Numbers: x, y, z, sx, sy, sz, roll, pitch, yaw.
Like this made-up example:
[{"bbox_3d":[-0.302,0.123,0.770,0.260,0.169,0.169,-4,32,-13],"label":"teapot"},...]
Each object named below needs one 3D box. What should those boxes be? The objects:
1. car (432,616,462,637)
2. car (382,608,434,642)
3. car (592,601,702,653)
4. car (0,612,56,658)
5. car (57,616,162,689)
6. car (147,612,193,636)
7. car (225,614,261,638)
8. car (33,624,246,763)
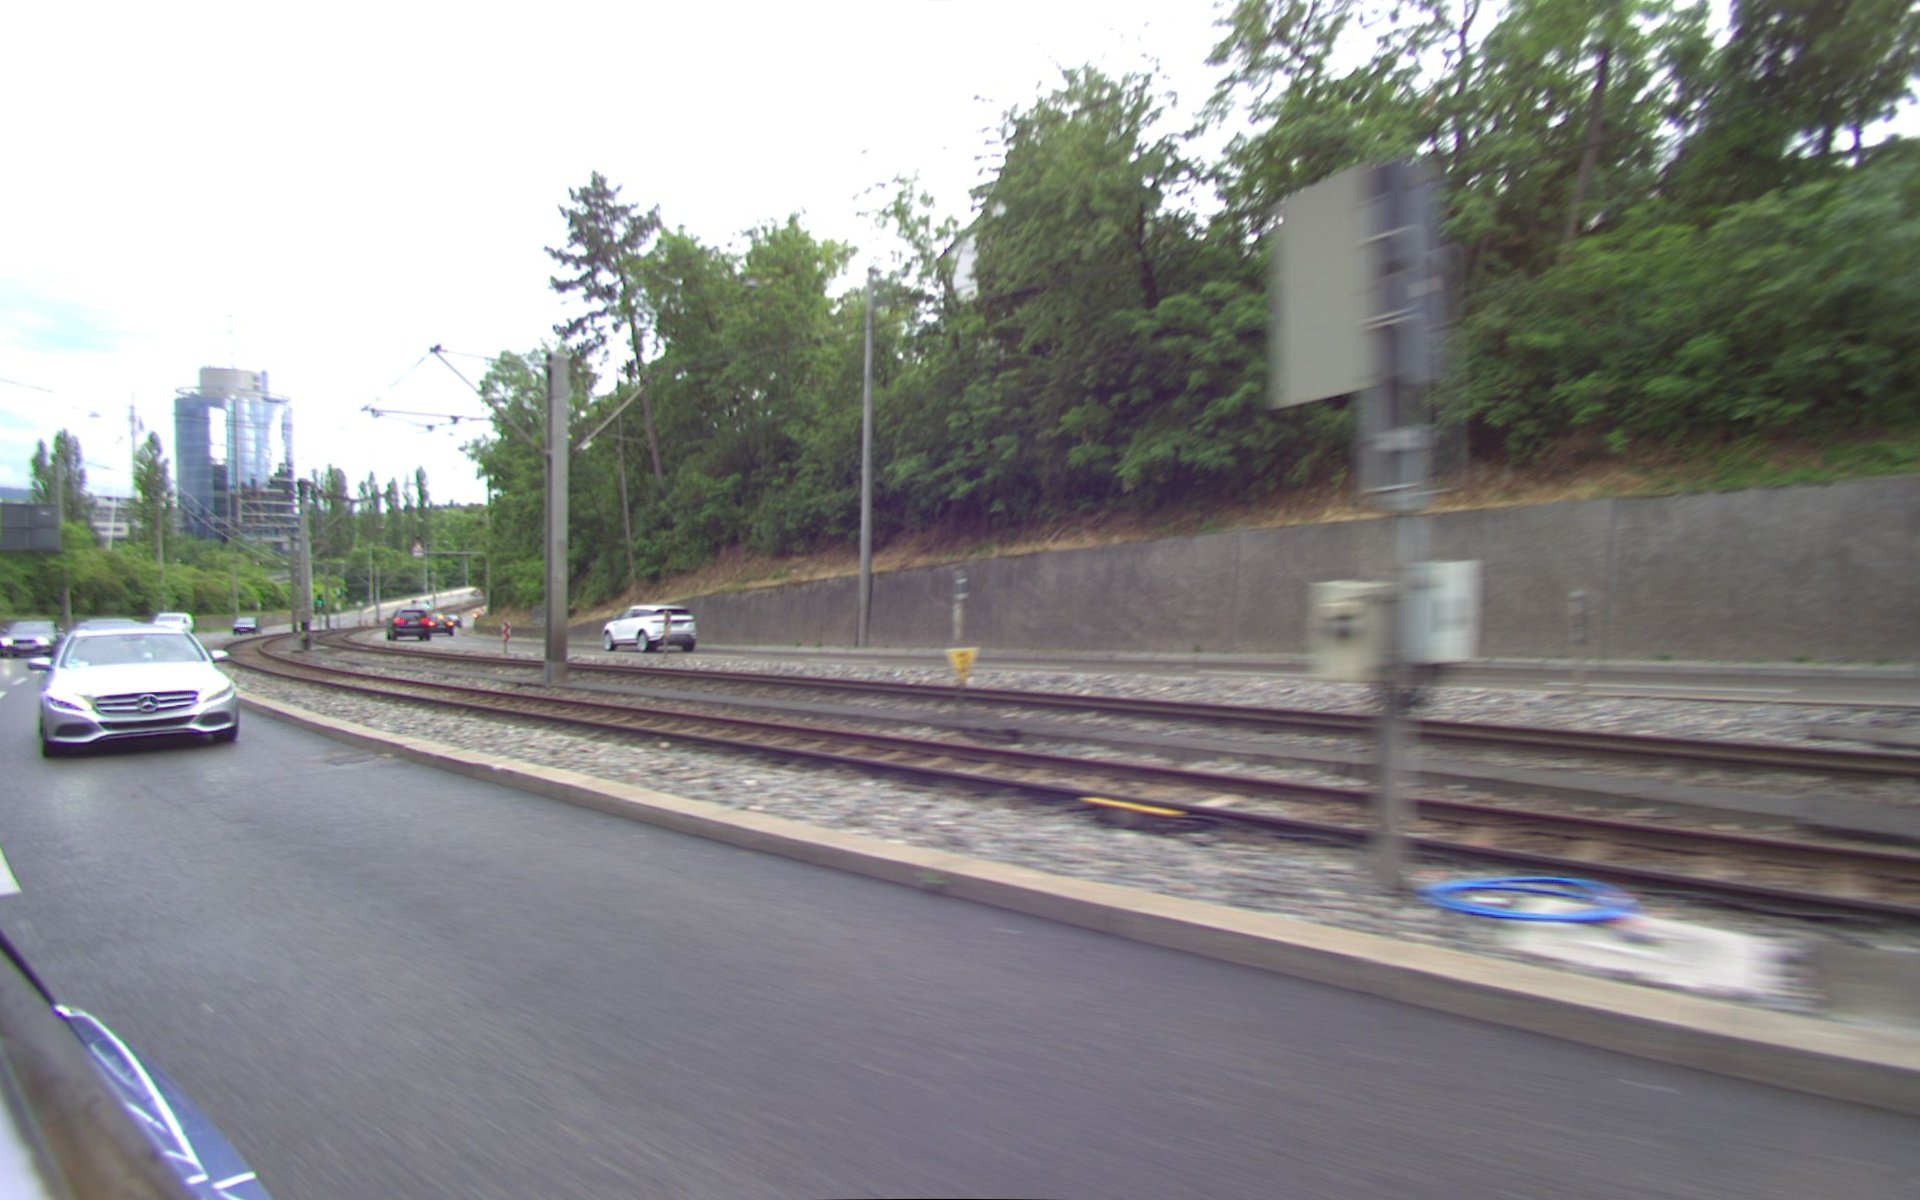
[{"bbox_3d":[-37.493,1.923,73.931,1.799,1.482,4.427,1,-2,-29],"label":"car"},{"bbox_3d":[-31.731,1.433,58.110,2.203,1.845,5.151,0,-1,-33],"label":"car"},{"bbox_3d":[-11.130,0.932,35.839,1.912,1.696,4.411,0,-1,-44],"label":"car"},{"bbox_3d":[-37.092,1.357,40.063,1.784,1.521,4.004,-4,4,-43],"label":"car"},{"bbox_3d":[-19.672,1.153,23.462,1.704,1.482,3.894,-2,0,-40],"label":"car"},{"bbox_3d":[-60.417,1.818,77.470,1.780,1.521,4.014,-2,3,-24],"label":"car"},{"bbox_3d":[-64.150,2.337,90.592,1.965,2.029,4.509,-1,-1,-27],"label":"car"},{"bbox_3d":[-10.485,1.029,12.813,1.834,1.413,4.319,0,-1,-43],"label":"car"}]
